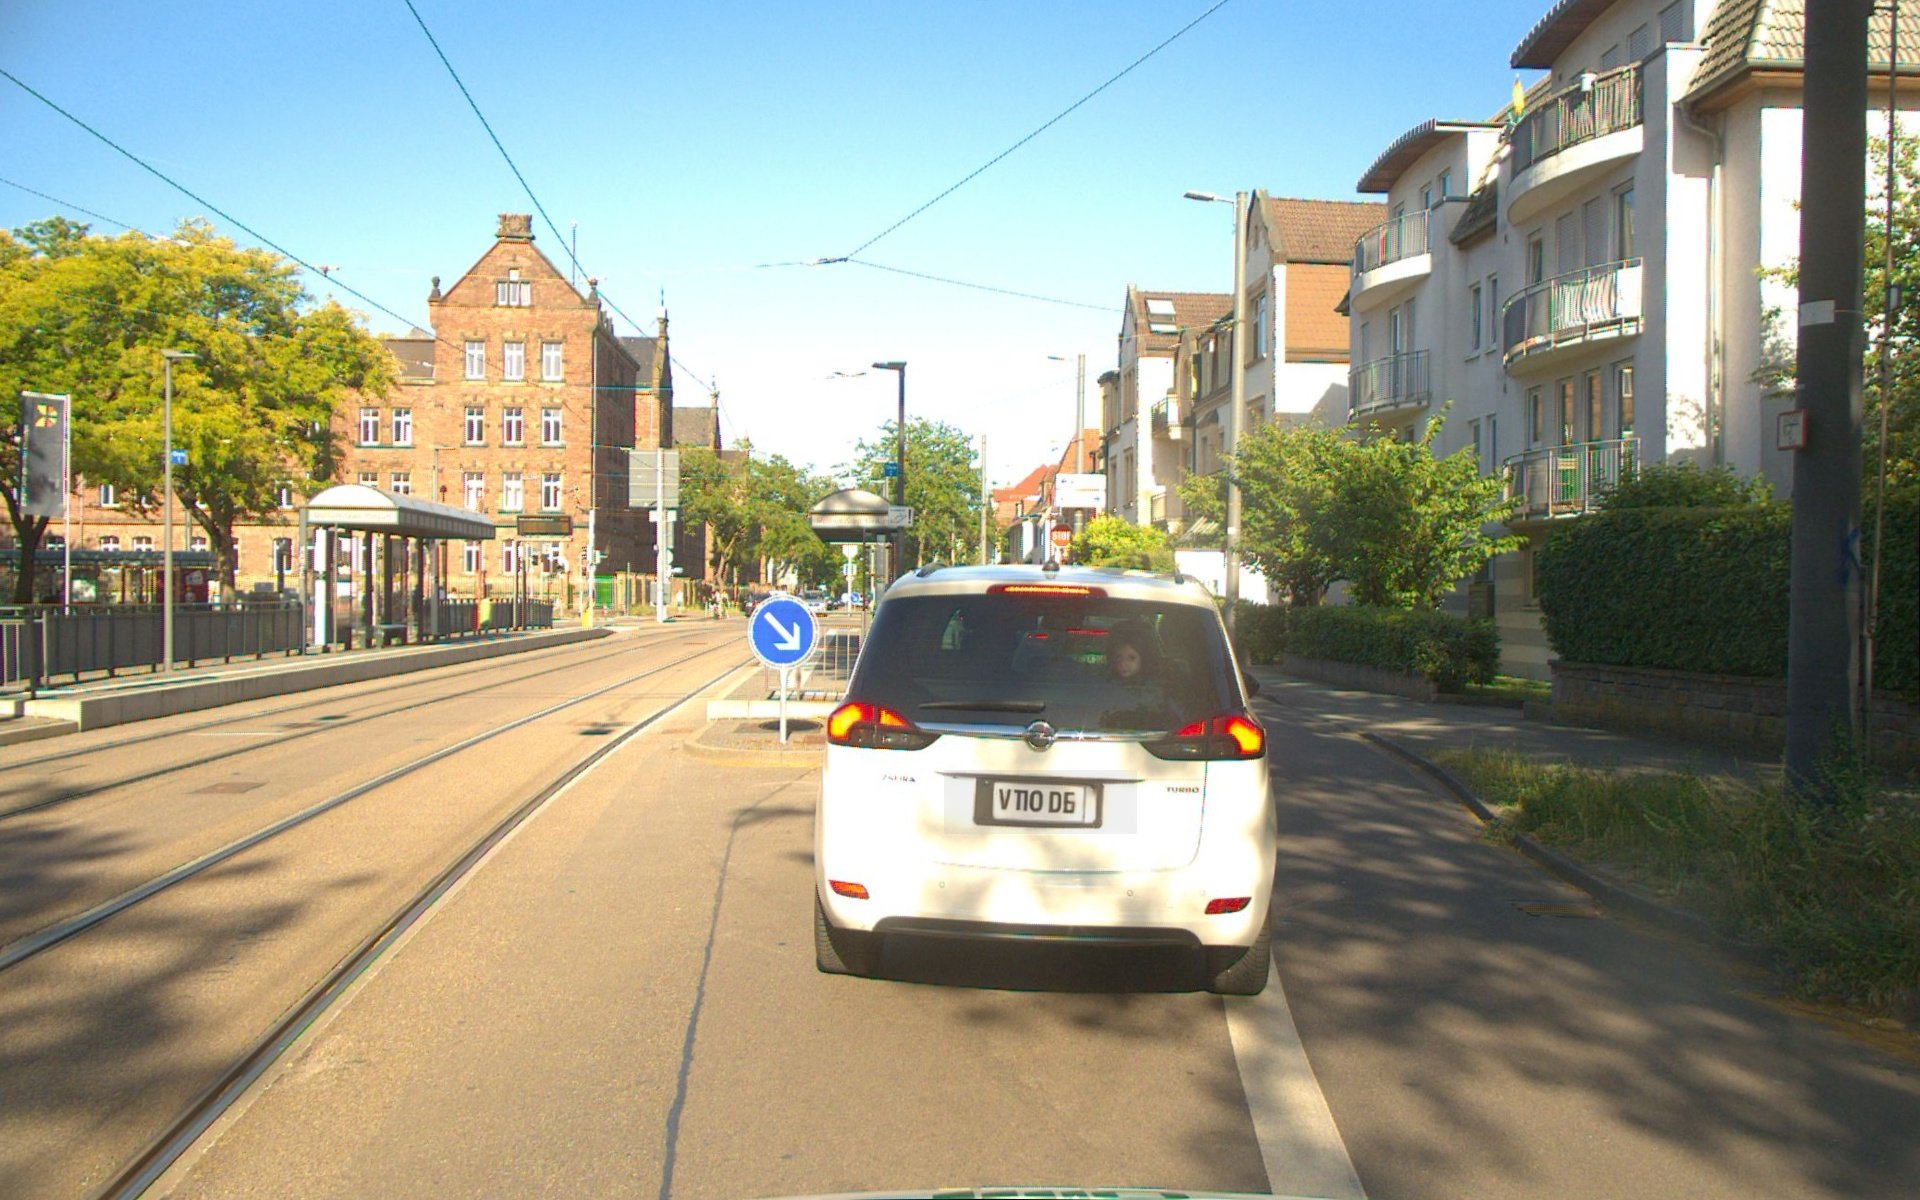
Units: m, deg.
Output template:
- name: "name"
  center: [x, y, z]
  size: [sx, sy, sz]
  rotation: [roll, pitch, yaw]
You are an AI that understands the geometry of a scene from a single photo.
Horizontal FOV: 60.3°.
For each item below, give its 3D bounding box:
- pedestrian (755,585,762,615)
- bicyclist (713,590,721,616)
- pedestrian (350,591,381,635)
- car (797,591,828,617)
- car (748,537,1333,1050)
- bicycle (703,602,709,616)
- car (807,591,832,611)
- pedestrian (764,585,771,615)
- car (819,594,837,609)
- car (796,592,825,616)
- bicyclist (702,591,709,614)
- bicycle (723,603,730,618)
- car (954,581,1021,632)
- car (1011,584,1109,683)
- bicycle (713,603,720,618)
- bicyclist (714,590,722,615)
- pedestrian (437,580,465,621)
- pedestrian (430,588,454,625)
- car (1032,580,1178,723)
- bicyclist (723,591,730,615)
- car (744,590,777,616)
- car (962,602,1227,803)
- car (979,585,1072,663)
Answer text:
- name: "pedestrian"
  center: [-13.645, 0.000, 111.757]
  size: [0.435, 2.049, 0.495]
  rotation: [0, 0, -4]
- name: "bicyclist"
  center: [-15.151, 0.171, 103.040]
  size: [0.435, 1.580, 0.742]
  rotation: [0, 0, -4]
- name: "pedestrian"
  center: [-23.511, 0.511, 65.397]
  size: [0.825, 1.721, 1.029]
  rotation: [1, 0, -1]
- name: "car"
  center: [-9.544, 0.239, 107.152]
  size: [1.955, 1.657, 3.996]
  rotation: [0, 0, -5]
- name: "car"
  center: [0.454, 0.646, 7.588]
  size: [1.951, 1.673, 3.996]
  rotation: [1, 0, 6]
- name: "bicycle"
  center: [-17.652, 0.653, 114.851]
  size: [0.337, 0.966, 0.996]
  rotation: [1, 0, -4]
- name: "car"
  center: [-12.110, 0.089, 142.650]
  size: [1.953, 1.657, 3.998]
  rotation: [0, 0, -3]
- name: "pedestrian"
  center: [-13.066, 0.011, 112.037]
  size: [0.435, 2.049, 0.495]
  rotation: [0, 0, -4]
- name: "car"
  center: [-15.379, 0.143, 192.611]
  size: [1.955, 1.657, 3.984]
  rotation: [0, 0, -5]
- name: "car"
  center: [-10.348, 0.255, 114.245]
  size: [1.955, 1.657, 3.996]
  rotation: [0, 0, -5]
- name: "bicyclist"
  center: [-17.646, 0.177, 114.815]
  size: [0.435, 1.580, 0.495]
  rotation: [0, 0, -4]
- name: "bicycle"
  center: [-15.391, 0.667, 108.910]
  size: [0.337, 0.966, 0.996]
  rotation: [1, 0, -4]
- name: "car"
  center: [0.829, 0.188, 51.759]
  size: [1.953, 1.529, 3.999]
  rotation: [0, 0, -1]
- name: "car"
  center: [1.712, 0.548, 29.263]
  size: [1.603, 1.629, 3.855]
  rotation: [0, 0, 1]
- name: "bicycle"
  center: [-15.160, 0.646, 102.832]
  size: [0.337, 0.966, 1.159]
  rotation: [1, 0, -4]
- name: "bicyclist"
  center: [-15.572, 0.178, 106.316]
  size: [0.435, 1.580, 0.495]
  rotation: [0, 0, -4]
- name: "pedestrian"
  center: [-21.695, 0.032, 70.479]
  size: [0.877, 1.713, 1.029]
  rotation: [1, 0, -1]
- name: "pedestrian"
  center: [-22.551, 0.279, 72.024]
  size: [0.786, 1.616, 0.934]
  rotation: [1, 0, -3]
- name: "car"
  center: [1.739, 0.583, 20.835]
  size: [1.603, 1.629, 3.855]
  rotation: [0, 0, 1]
- name: "bicyclist"
  center: [-15.381, 0.192, 108.903]
  size: [0.435, 1.580, 0.495]
  rotation: [0, 0, -4]
- name: "car"
  center: [-12.854, 0.189, 106.879]
  size: [1.955, 1.657, 3.996]
  rotation: [0, 0, -5]
- name: "car"
  center: [1.029, 0.746, 13.976]
  size: [1.912, 1.422, 4.001]
  rotation: [0, 0, 1]
- name: "car"
  center: [1.378, 0.489, 36.182]
  size: [1.793, 1.607, 4.009]
  rotation: [0, 0, -1]
